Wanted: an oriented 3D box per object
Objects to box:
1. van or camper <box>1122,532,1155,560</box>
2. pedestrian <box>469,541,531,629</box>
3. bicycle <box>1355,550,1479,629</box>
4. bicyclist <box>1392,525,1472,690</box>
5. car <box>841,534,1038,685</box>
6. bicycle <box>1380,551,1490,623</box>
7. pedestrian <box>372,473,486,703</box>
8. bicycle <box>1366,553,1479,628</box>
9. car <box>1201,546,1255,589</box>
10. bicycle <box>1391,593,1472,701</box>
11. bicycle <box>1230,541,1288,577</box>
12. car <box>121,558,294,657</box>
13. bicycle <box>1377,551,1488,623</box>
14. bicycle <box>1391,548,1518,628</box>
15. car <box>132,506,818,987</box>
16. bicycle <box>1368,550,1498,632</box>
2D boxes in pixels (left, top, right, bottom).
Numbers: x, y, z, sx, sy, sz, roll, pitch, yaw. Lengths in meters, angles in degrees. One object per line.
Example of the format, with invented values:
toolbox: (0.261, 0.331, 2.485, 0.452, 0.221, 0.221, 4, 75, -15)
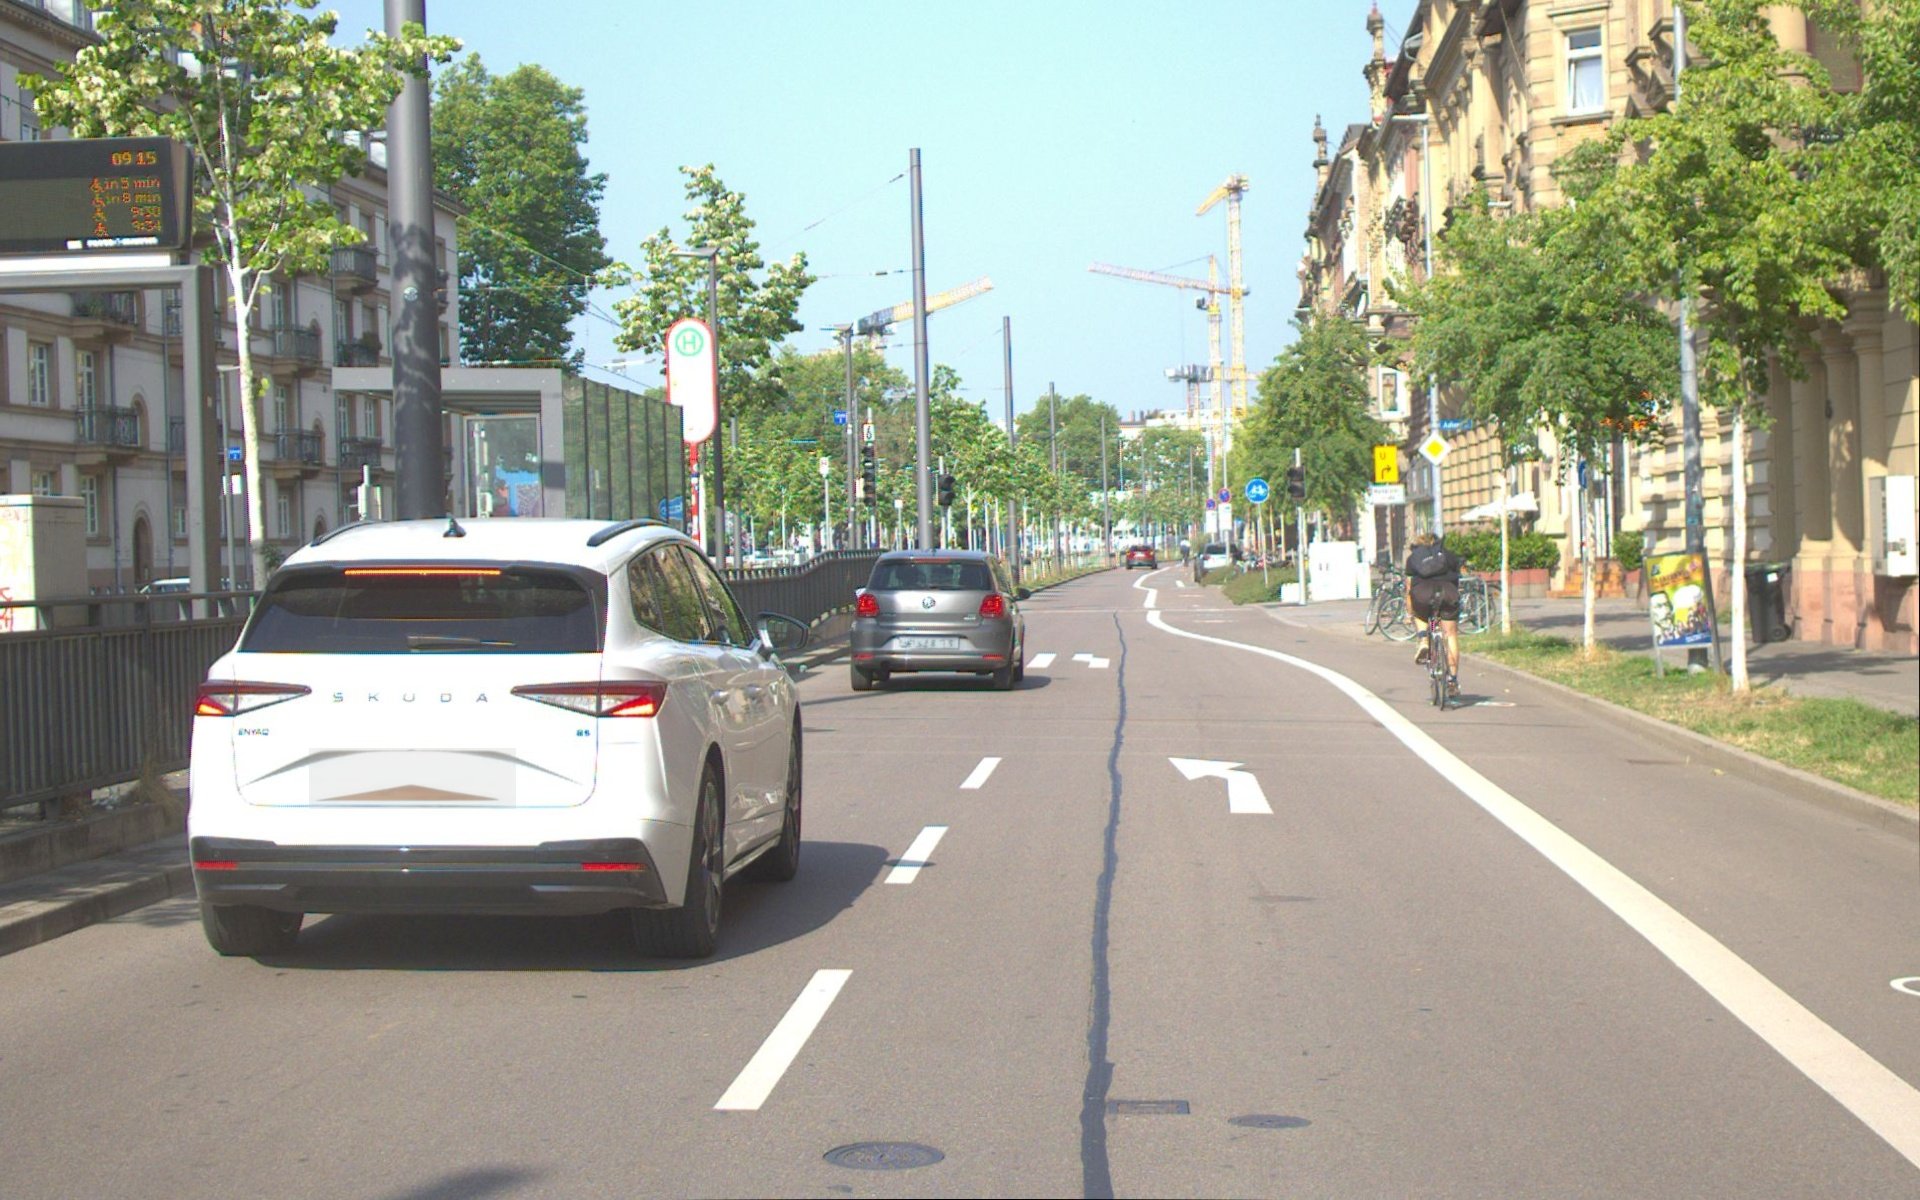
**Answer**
van or camper: (11.146, -3.387, 214.659, 1.994, 1.649, 4.000, -2, 1, 3)
pedestrian: (-9.907, -0.326, 74.016, 1.067, 1.861, 0.864, -2, 1, -24)
bicycle: (7.229, -0.166, 54.413, 1.755, 1.084, 0.673, -5, 1, -19)
bicyclist: (4.306, 0.072, 31.402, 0.583, 1.477, 0.931, 1, -1, 1)
car: (-0.155, 0.058, 36.226, 1.754, 1.479, 4.406, -1, 1, 4)
bicycle: (7.956, -0.226, 57.675, 1.753, 1.084, 0.582, -4, 1, 7)
pedestrian: (-4.731, -0.113, 30.692, 0.833, 2.007, 1.028, 1, 0, 0)
bicycle: (7.516, -0.158, 55.845, 1.756, 1.084, 0.668, -4, 1, 9)
car: (10.747, -1.313, 137.971, 1.769, 1.583, 4.248, -3, 1, 0)
bicycle: (4.307, 0.426, 31.505, 0.505, 0.950, 1.785, 1, -1, 1)
bicycle: (9.998, -1.383, 115.049, 1.806, 1.092, 0.672, -3, 1, -1)
car: (-14.965, 0.116, 68.599, 1.994, 1.799, 4.631, -2, 1, 5)
bicycle: (7.841, -0.221, 57.080, 1.753, 1.084, 0.582, -4, 1, 7)
bicycle: (7.634, -0.192, 53.080, 1.755, 1.084, 0.658, -5, 1, -5)
car: (-1.709, 0.453, 13.624, 1.817, 1.584, 4.406, -1, 1, 4)
bicycle: (7.085, -0.141, 51.547, 1.755, 1.084, 0.611, -5, 1, -5)
